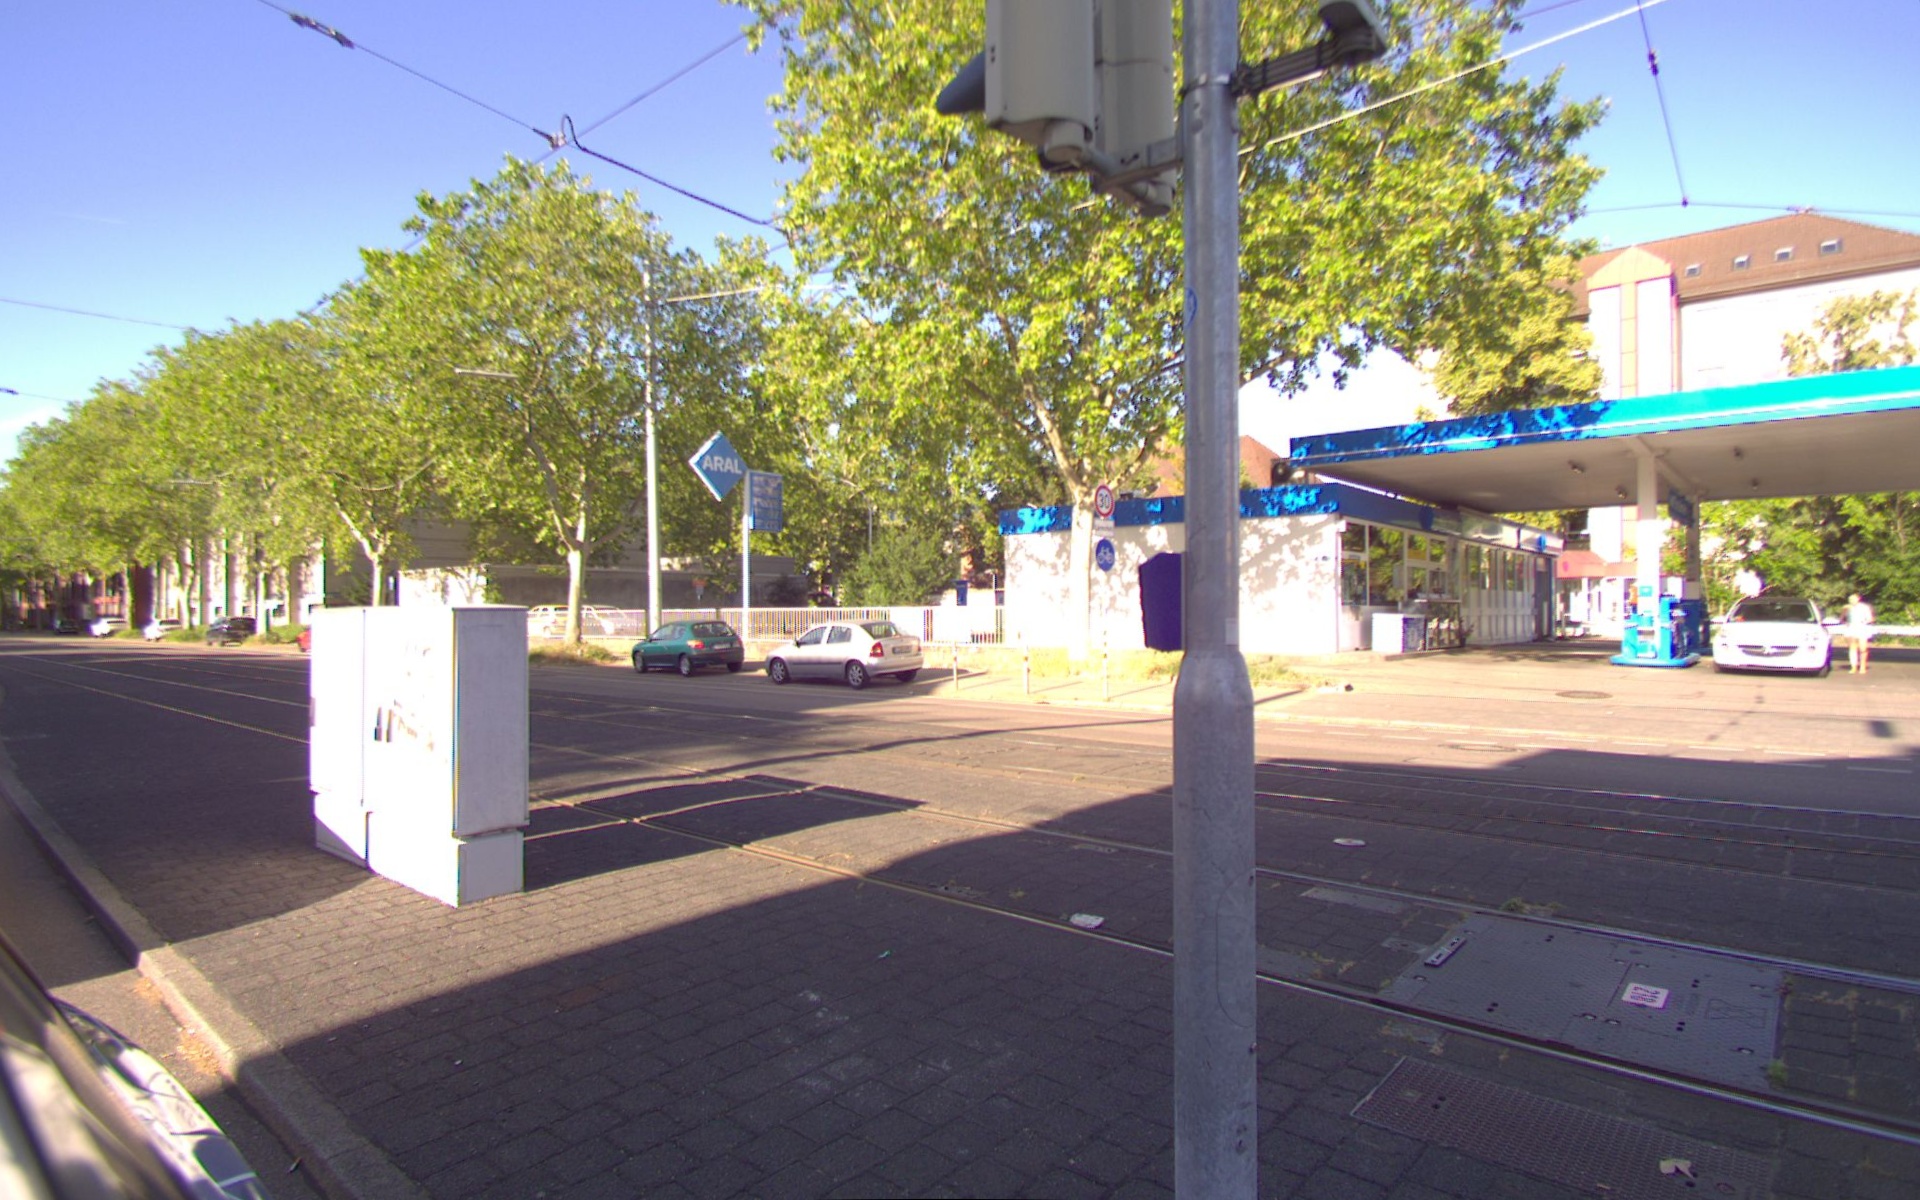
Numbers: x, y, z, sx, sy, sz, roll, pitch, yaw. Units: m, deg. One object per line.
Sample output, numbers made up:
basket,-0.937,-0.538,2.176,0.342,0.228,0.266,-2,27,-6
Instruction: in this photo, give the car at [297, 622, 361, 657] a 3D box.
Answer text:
car,-28.560,1.745,45.785,3.045,1.519,1.620,-1,-1,41

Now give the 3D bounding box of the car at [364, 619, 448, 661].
car,-21.946,1.545,40.038,3.652,1.541,1.802,-1,-1,41

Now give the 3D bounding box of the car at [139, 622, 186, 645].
car,-53.728,2.257,68.146,3.998,1.509,1.779,-1,-1,41

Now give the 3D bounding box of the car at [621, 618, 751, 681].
car,-7.331,1.273,26.920,3.519,1.475,1.670,-1,2,43

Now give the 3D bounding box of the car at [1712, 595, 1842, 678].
car,16.025,0.675,19.899,1.812,1.453,3.947,-1,-1,39

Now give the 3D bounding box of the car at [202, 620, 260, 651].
car,-40.761,1.946,56.574,3.998,1.674,1.779,-1,-1,41

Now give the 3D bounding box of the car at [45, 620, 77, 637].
car,-85.335,2.720,96.096,3.998,1.525,1.779,-1,-1,41

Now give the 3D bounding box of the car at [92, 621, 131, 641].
car,-66.693,2.391,79.510,3.998,1.525,1.779,-1,-1,41

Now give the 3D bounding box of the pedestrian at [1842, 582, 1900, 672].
pedestrian,17.673,0.523,19.652,0.760,1.705,0.579,-1,-2,37

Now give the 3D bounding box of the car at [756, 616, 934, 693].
car,-2.632,1.155,22.651,3.965,1.475,1.771,-1,2,43
